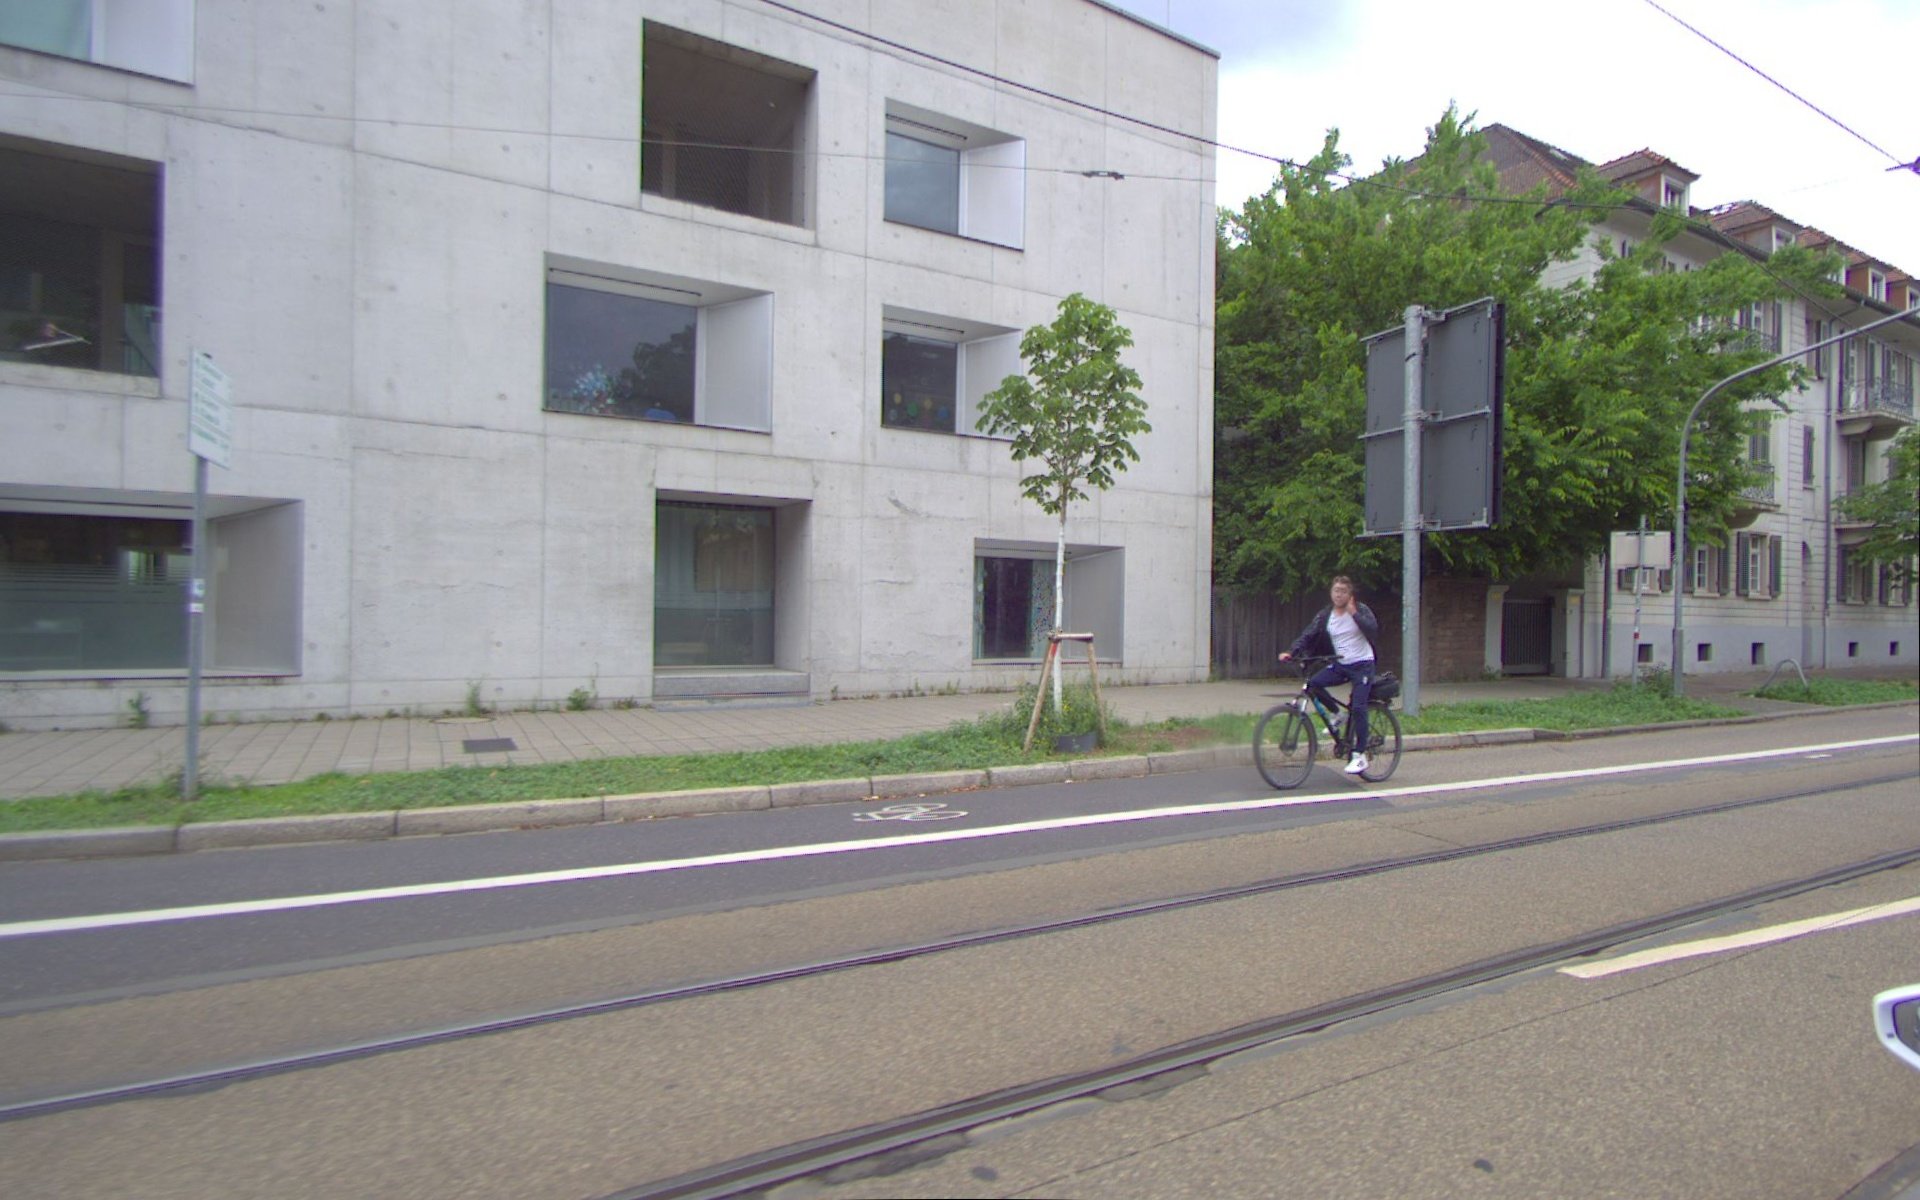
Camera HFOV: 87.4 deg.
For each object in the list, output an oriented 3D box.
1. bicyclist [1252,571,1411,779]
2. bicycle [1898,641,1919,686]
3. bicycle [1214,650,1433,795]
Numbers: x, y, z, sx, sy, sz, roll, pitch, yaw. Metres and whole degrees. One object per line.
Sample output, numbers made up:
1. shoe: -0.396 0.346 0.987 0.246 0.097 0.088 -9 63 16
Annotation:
1. bicyclist: 3.453 0.678 9.359 1.134 1.806 0.788 1 -4 -30
2. bicycle: 24.744 1.616 25.236 0.509 1.144 1.744 1 -1 -11
3. bicycle: 3.380 1.080 9.301 1.986 1.201 0.788 1 -4 -30
